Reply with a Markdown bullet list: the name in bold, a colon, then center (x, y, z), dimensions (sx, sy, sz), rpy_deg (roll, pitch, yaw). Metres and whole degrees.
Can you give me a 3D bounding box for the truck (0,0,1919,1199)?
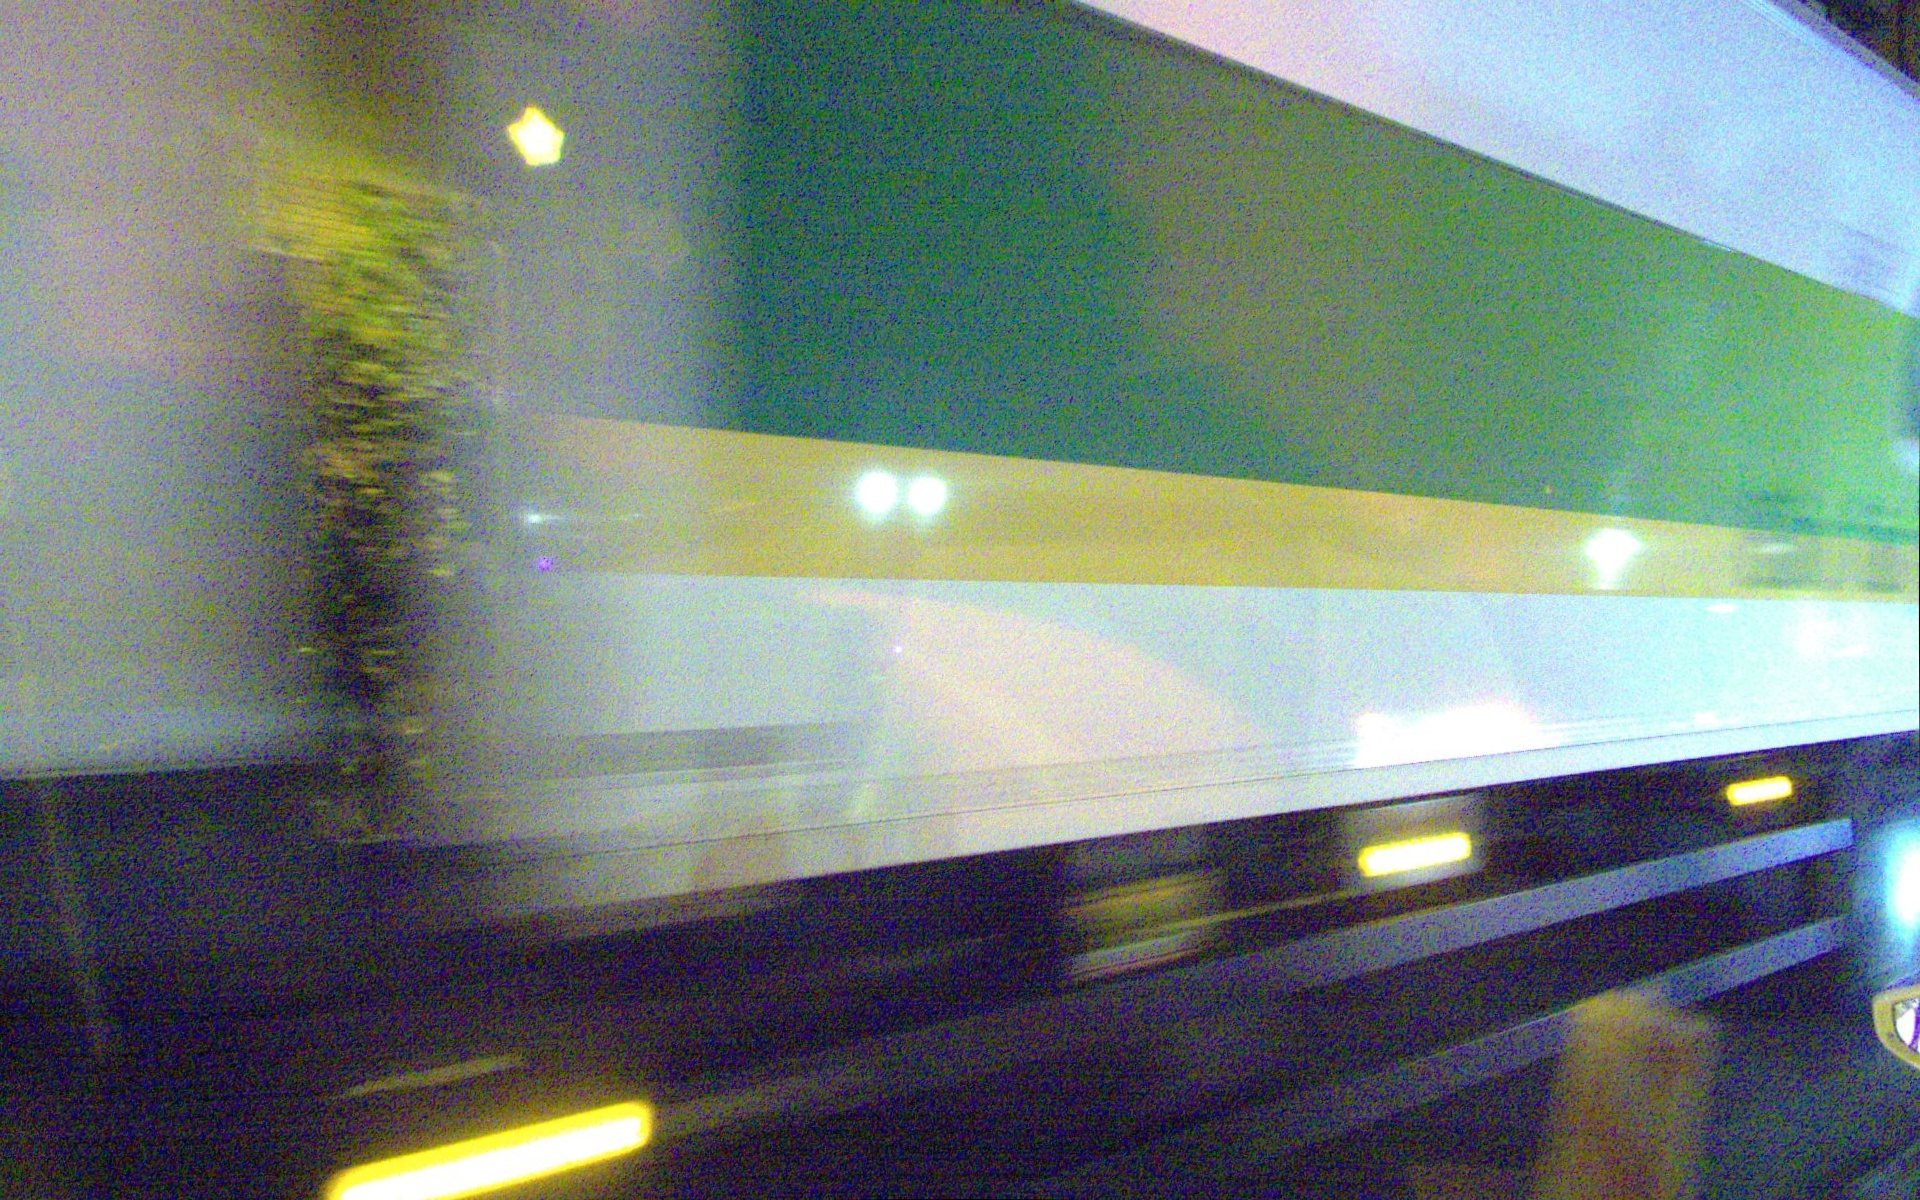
- **truck**: center (1.366, -0.430, 3.907), dimensions (9.993, 3.767, 2.743), rpy_deg (1, -2, -30)
